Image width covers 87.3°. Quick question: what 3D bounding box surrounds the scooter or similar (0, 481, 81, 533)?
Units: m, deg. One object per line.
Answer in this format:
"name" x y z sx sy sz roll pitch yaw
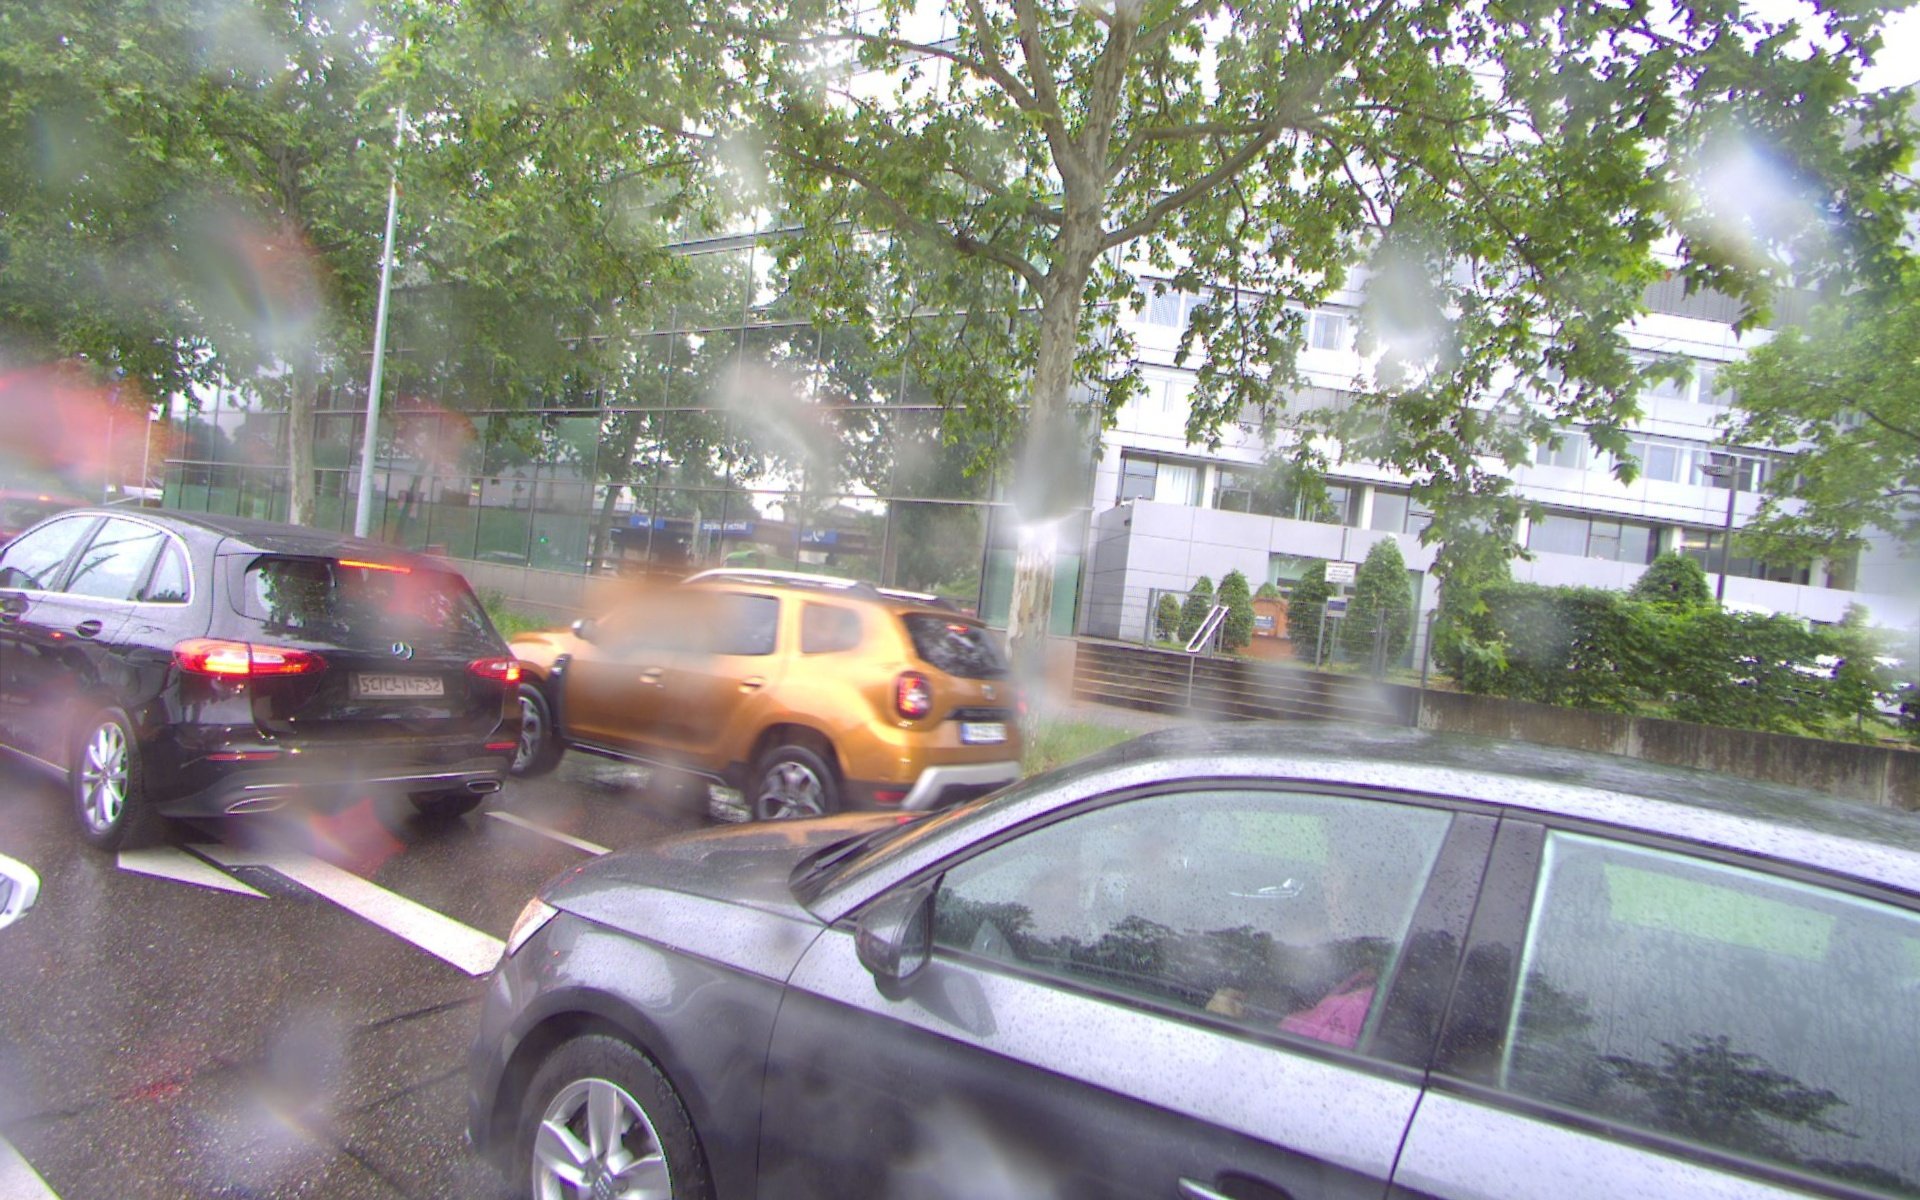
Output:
"scooter or similar" -54.528 -5.518 58.138 5.228 2.476 1.893 7 0 -9

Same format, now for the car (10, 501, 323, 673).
"car" -8.978 -0.160 11.352 3.332 1.480 1.572 7 -1 31

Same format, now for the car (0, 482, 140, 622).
"car" -14.071 -0.808 14.789 4.201 1.714 1.714 6 -2 32

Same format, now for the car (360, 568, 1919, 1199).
"car" 0.680 0.902 2.102 3.718 1.445 1.679 7 -1 31

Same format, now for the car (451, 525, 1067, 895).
"car" -1.538 0.602 7.166 4.079 1.704 1.679 8 -2 32

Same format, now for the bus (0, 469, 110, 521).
"bus" -83.102 -9.545 90.013 2.436 3.465 12.014 7 0 7

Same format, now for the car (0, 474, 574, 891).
"car" -4.342 0.243 5.752 4.022 1.573 1.751 7 -1 31
